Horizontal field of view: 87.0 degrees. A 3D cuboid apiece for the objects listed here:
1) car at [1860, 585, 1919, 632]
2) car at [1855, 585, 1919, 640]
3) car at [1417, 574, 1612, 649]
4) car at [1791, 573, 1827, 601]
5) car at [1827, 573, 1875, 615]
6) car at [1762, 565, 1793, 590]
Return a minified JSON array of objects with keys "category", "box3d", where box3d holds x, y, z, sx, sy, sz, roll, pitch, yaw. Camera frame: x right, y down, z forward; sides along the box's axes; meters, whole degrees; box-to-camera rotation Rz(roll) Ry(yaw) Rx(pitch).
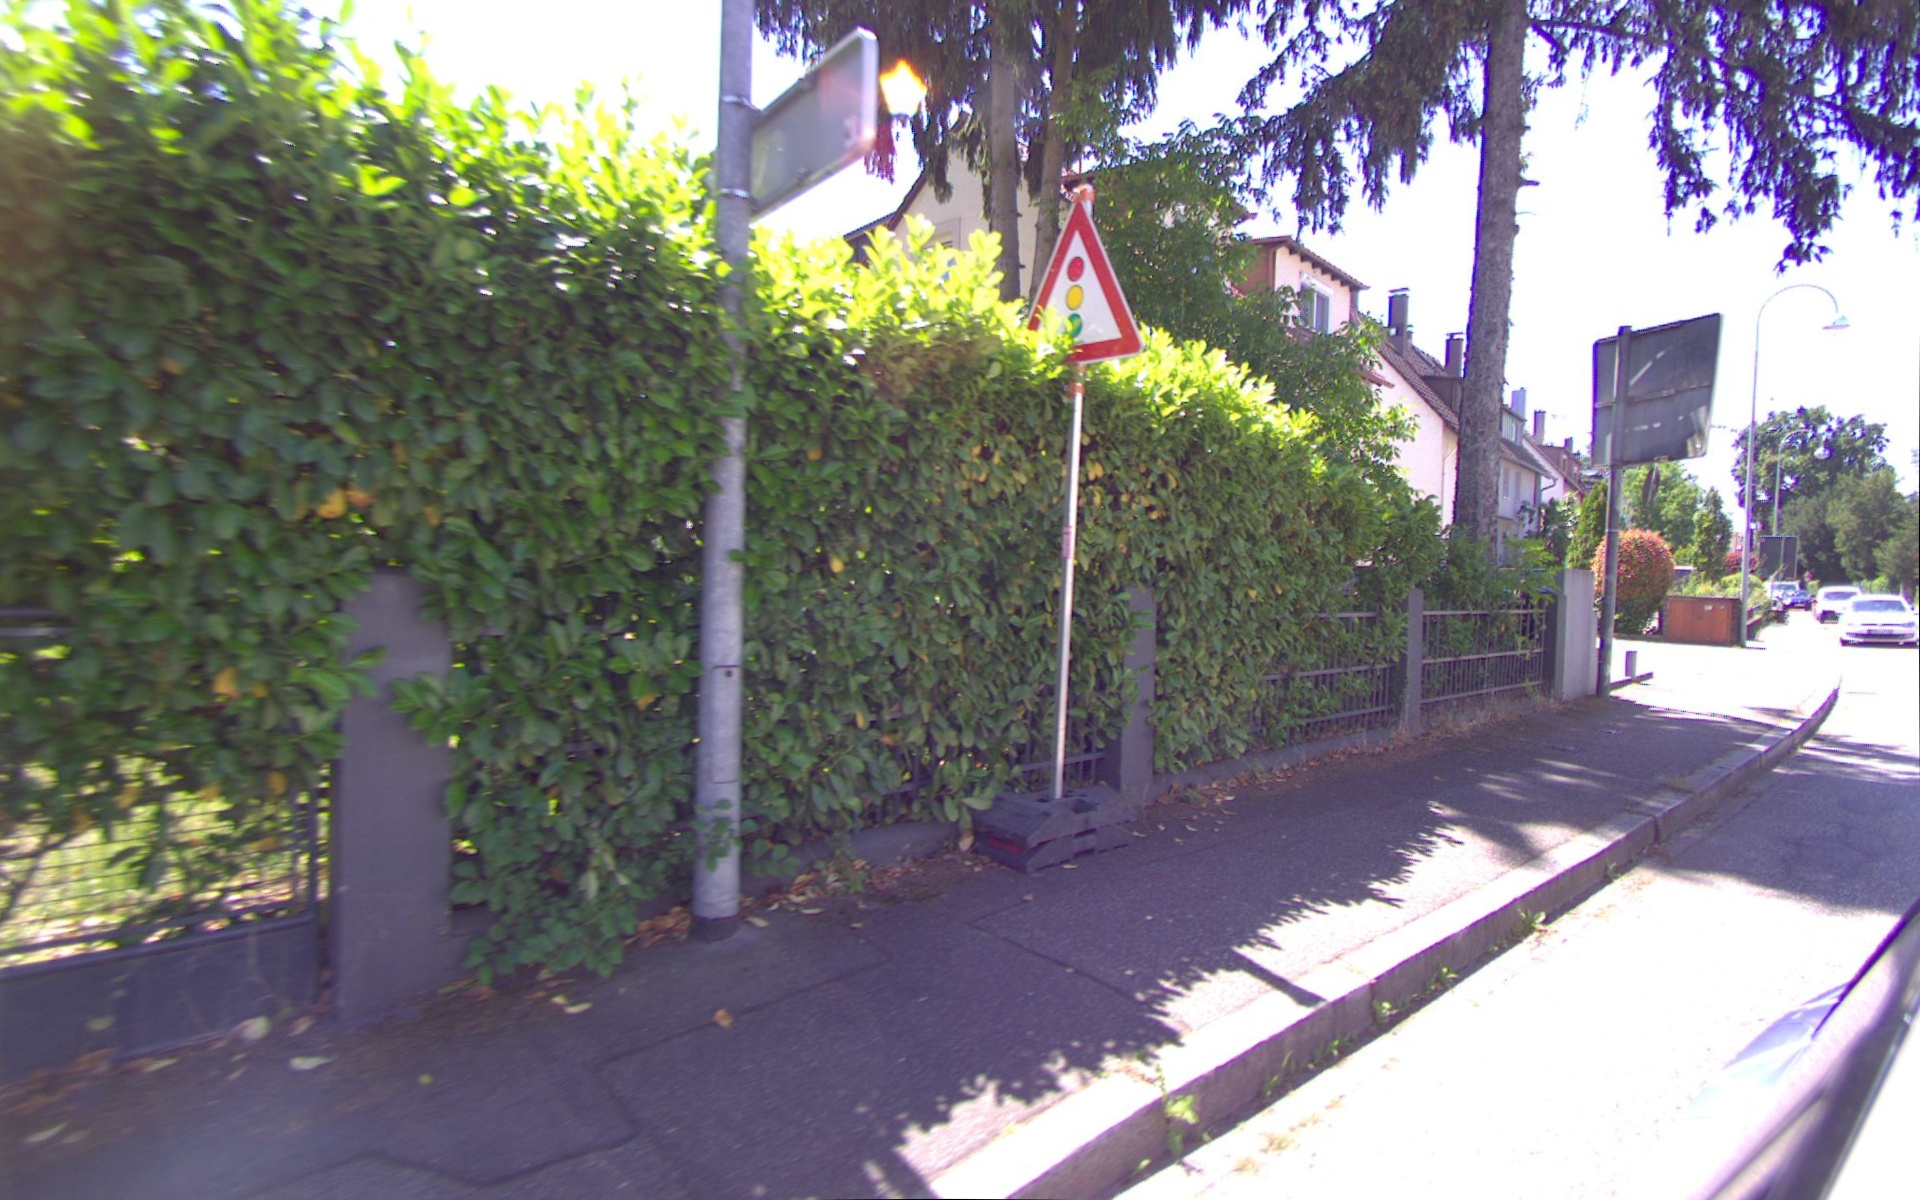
[{"category":"car","box3d":[31.728,0.237,34.339,1.683,1.472,4.298,0,1,41]},{"category":"car","box3d":[26.919,0.315,29.140,1.683,1.473,3.684,0,1,41]},{"category":"car","box3d":[12.655,0.204,23.218,3.618,1.549,1.750,1,2,44]},{"category":"car","box3d":[57.120,-0.910,68.137,1.681,1.801,3.887,0,1,38]},{"category":"car","box3d":[42.805,-0.312,48.601,1.683,1.801,3.882,0,3,42]},{"category":"car","box3d":[60.330,-1.641,74.754,1.681,1.801,3.887,0,1,38]}]
